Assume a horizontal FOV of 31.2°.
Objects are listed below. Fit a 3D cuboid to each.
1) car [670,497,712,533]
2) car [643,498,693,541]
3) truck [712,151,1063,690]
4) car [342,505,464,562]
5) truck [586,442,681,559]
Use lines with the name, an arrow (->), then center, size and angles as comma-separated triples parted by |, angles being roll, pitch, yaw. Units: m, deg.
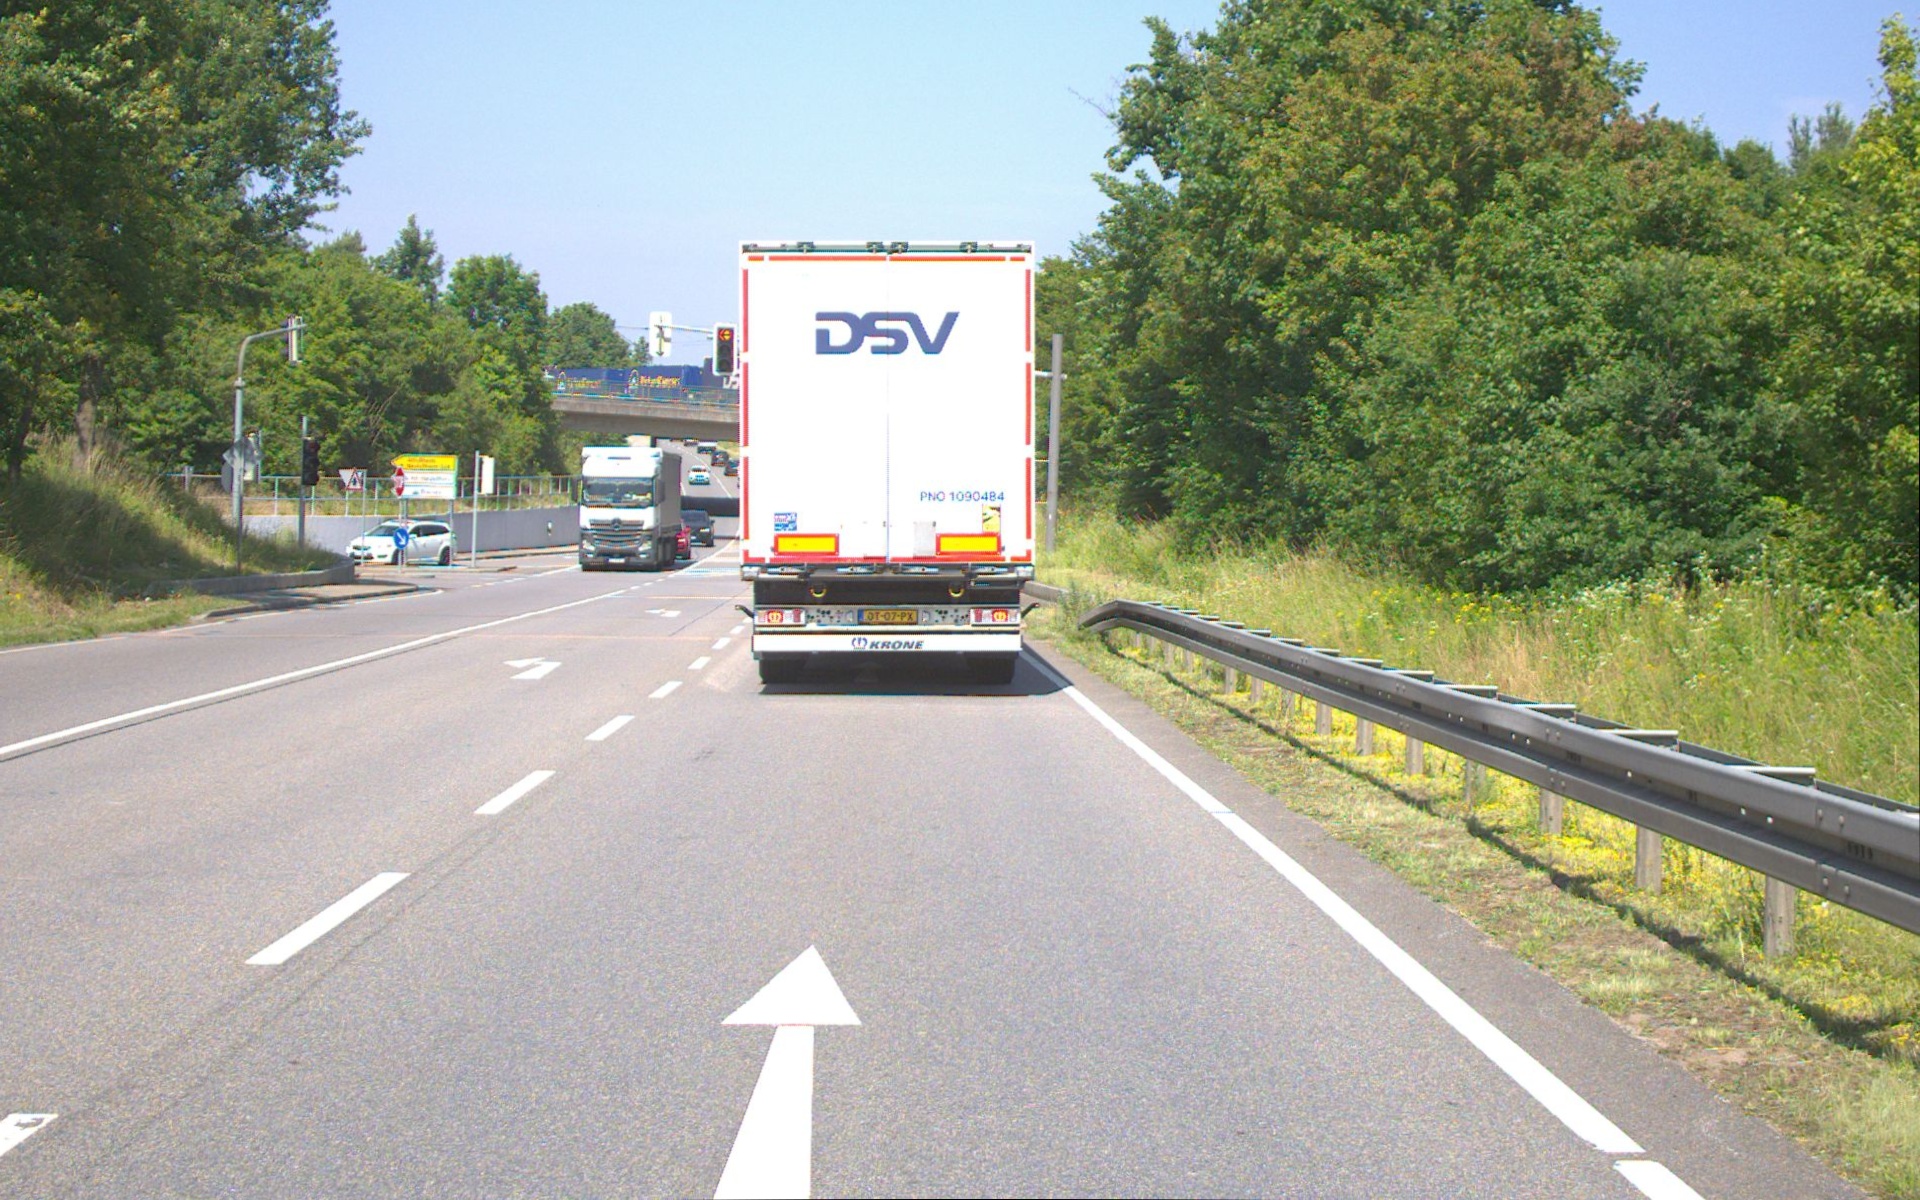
car -> -12.506, -3.977, 160.059 | 1.747, 1.620, 3.704 | 0, 2, -2
car -> -11.307, -3.133, 133.360 | 1.747, 1.620, 3.704 | 0, 2, -2
truck -> -0.780, -1.625, 34.143 | 2.949, 4.553, 9.864 | 0, 1, -2
car -> -18.708, -2.265, 115.572 | 1.804, 1.865, 4.413 | 1, 2, 27
truck -> -10.926, -3.371, 115.923 | 2.353, 3.737, 12.627 | 0, 2, -2
